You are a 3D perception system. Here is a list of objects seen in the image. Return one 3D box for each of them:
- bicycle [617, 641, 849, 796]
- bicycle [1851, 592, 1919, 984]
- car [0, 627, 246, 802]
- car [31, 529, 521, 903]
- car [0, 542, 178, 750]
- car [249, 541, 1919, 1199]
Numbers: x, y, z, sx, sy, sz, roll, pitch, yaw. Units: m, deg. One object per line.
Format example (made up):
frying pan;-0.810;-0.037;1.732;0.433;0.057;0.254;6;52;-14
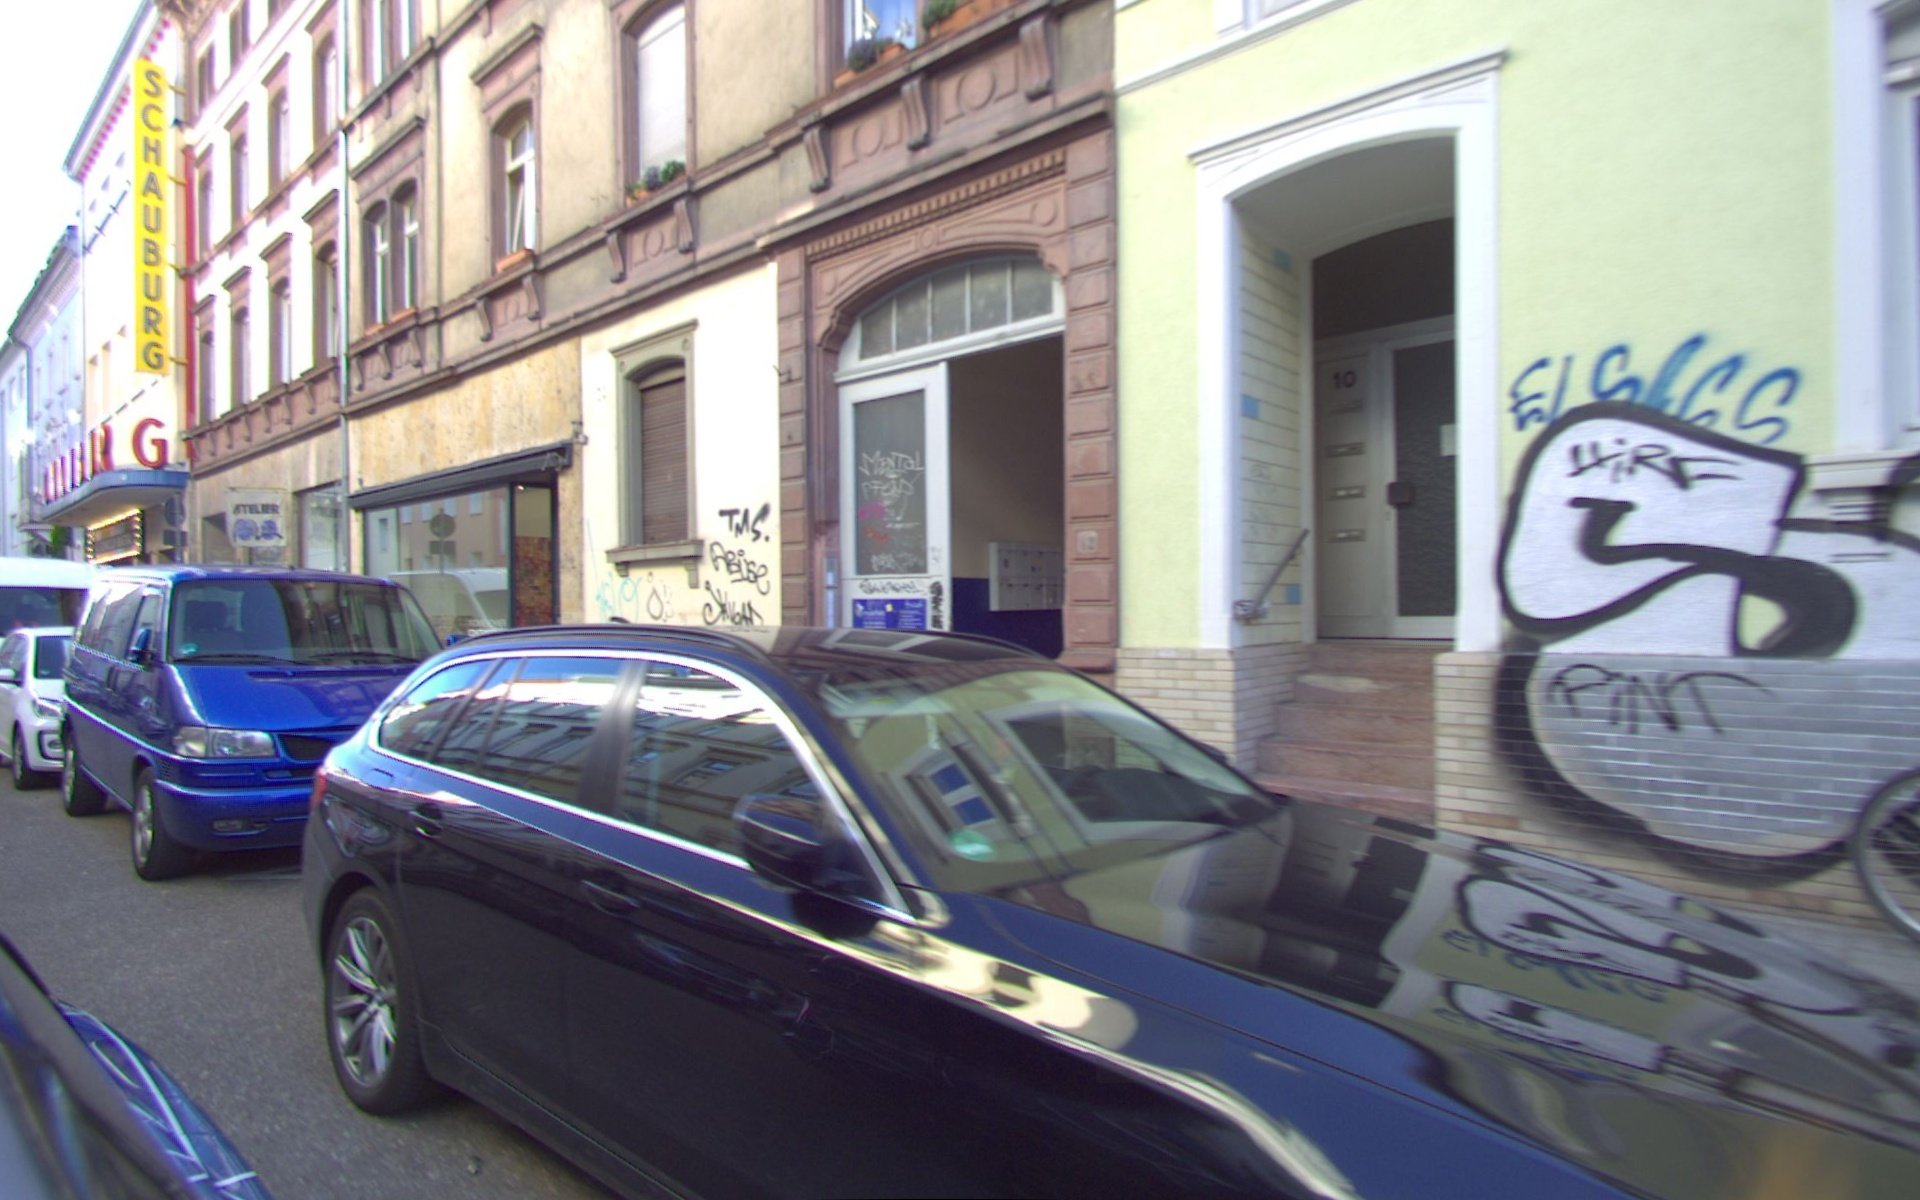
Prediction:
bicycle;-1.874;0.880;8.151;2.029;1.028;0.747;-2;2;42
bicycle;4.025;0.592;2.961;2.085;1.281;0.666;-2;-1;41
car;-8.913;1.025;10.413;3.836;1.458;1.629;-2;-2;40
car;-5.185;0.677;7.387;4.611;1.906;1.808;-2;-4;41
car;-13.279;0.627;14.406;5.916;2.471;2.146;-2;-3;40
car;-0.111;0.745;2.772;4.640;1.451;1.843;-2;-2;39
